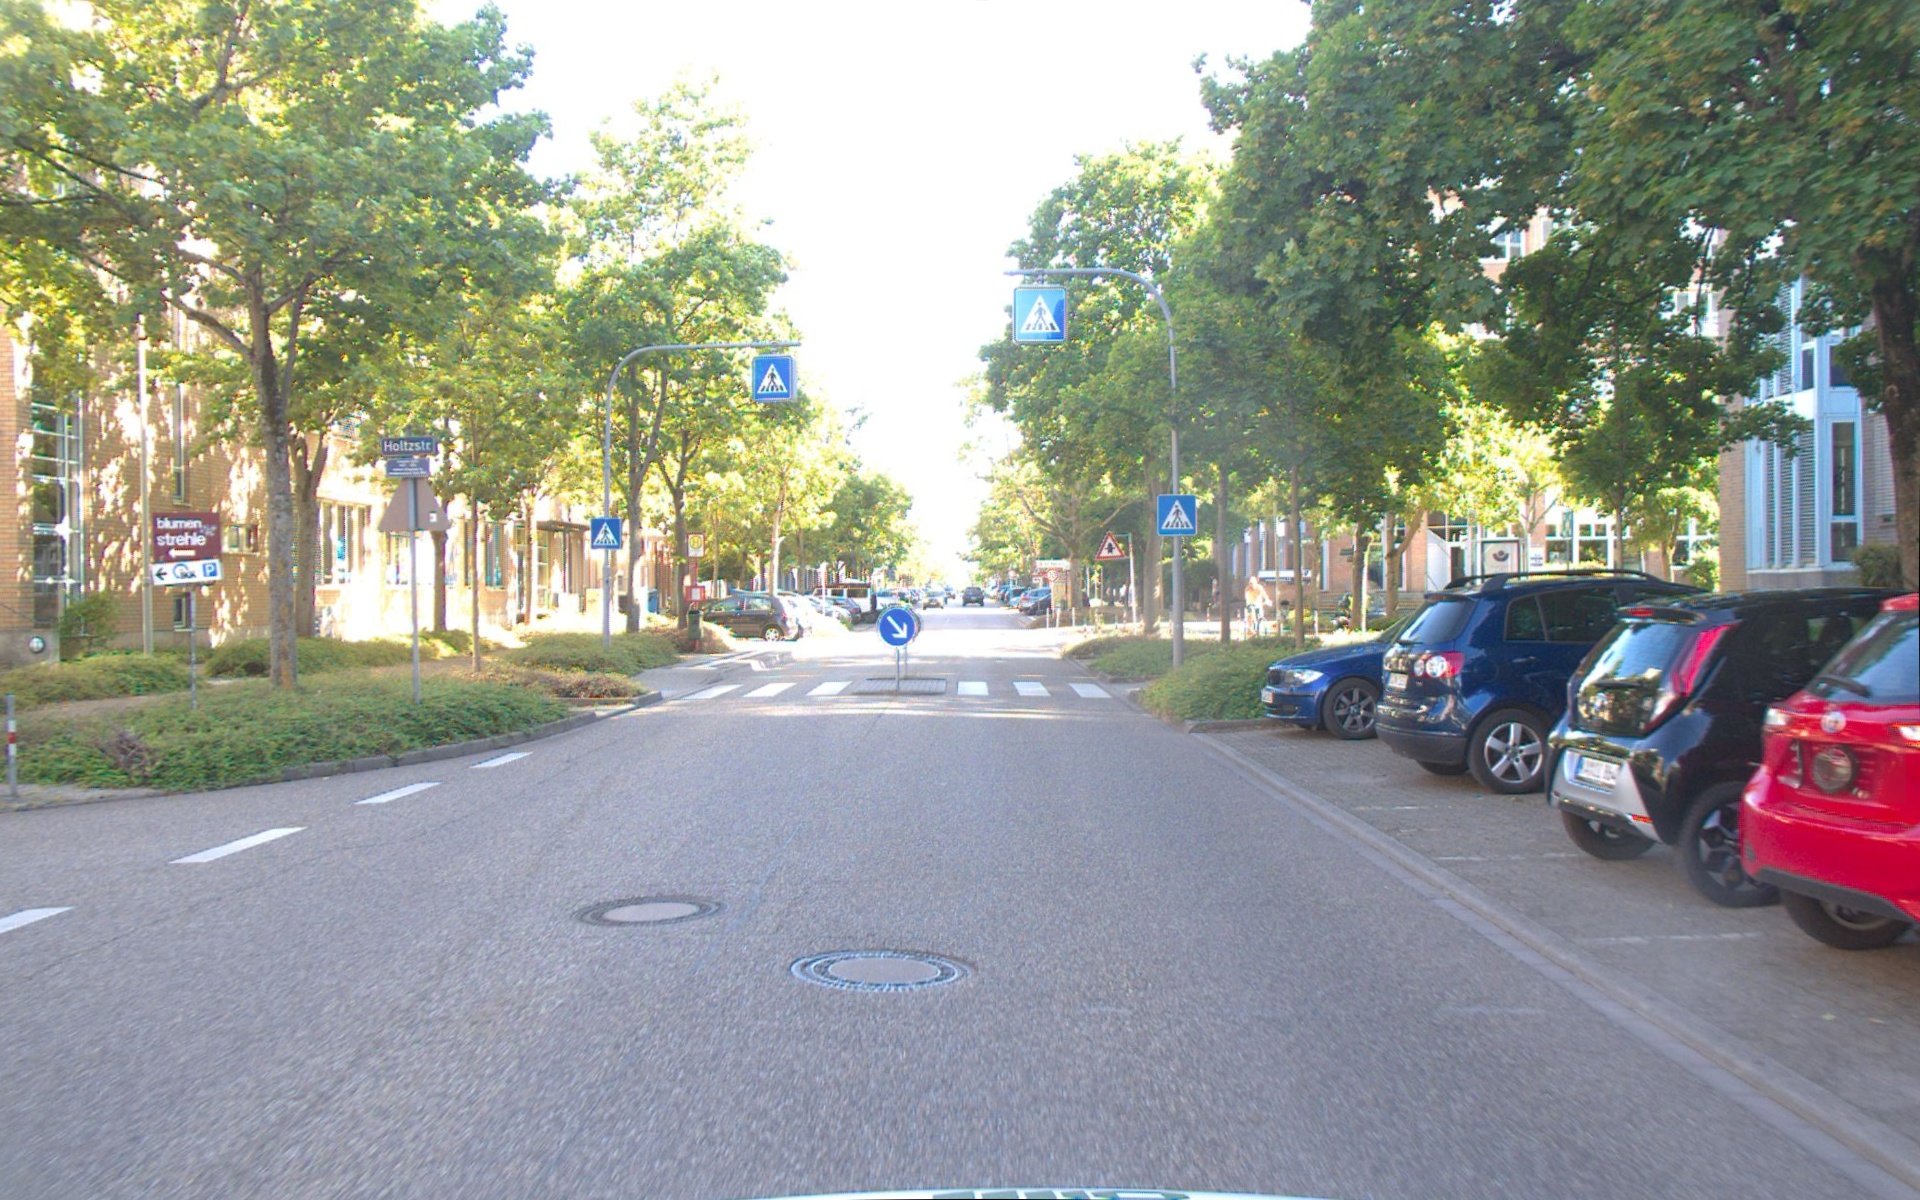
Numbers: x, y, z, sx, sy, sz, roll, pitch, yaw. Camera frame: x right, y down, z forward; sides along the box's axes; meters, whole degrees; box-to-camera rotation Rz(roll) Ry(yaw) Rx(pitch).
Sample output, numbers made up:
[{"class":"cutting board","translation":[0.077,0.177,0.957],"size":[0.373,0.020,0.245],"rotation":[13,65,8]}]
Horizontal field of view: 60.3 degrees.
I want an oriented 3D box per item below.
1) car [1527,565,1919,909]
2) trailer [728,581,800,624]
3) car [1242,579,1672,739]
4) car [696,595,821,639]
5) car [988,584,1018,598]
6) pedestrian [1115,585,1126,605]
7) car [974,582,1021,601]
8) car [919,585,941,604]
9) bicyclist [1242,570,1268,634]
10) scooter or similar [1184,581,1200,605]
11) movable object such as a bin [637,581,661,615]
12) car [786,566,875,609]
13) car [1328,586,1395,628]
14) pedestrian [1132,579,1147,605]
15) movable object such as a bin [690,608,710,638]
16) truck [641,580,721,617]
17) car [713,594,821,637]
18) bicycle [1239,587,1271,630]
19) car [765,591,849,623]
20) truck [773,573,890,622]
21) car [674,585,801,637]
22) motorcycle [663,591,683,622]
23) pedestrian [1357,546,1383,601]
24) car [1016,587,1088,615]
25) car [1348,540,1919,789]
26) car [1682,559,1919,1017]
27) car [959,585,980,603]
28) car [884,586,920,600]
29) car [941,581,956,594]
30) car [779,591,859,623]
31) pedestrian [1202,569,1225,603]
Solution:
[{"class":"car","translation":[5.265,0.561,8.557],"size":[4.044,1.486,1.659],"rotation":[-3,0,-4]},{"class":"trailer","translation":[-7.926,0.086,67.073],"size":[2.669,1.717,1.712],"rotation":[1,0,0]},{"class":"car","translation":[5.229,0.593,17.704],"size":[4.034,1.394,1.653],"rotation":[-3,0,-4]},{"class":"car","translation":[-6.923,0.568,56.987],"size":[4.067,1.427,1.801],"rotation":[1,0,0]},{"class":"car","translation":[5.801,-1.213,224.690],"size":[3.909,1.823,1.998],"rotation":[-1,0,-5]},{"class":"pedestrian","translation":[11.721,-0.363,121.061],"size":[0.686,1.483,0.715],"rotation":[-2,0,-3]},{"class":"car","translation":[3.428,-0.789,152.752],"size":[4.182,1.662,1.857],"rotation":[-2,0,-3]},{"class":"car","translation":[-2.486,-0.492,137.174],"size":[1.743,1.538,4.000],"rotation":[-1,0,0]},{"class":"bicyclist","translation":[7.763,0.050,43.591],"size":[0.526,1.665,0.823],"rotation":[-1,0,1]},{"class":"scooter or similar","translation":[13.018,-0.385,92.848],"size":[0.538,1.348,1.804],"rotation":[1,0,-5]},{"class":"movable object such as a bin","translation":[-15.731,-0.101,83.691],"size":[1.125,1.648,1.438],"rotation":[-1,0,-12]},{"class":"car","translation":[-6.580,-0.629,84.320],"size":[4.391,2.087,1.999],"rotation":[1,0,-2]},{"class":"car","translation":[15.395,0.256,63.604],"size":[1.618,1.488,3.918],"rotation":[-1,1,0]},{"class":"pedestrian","translation":[12.615,-0.556,116.400],"size":[0.683,1.740,0.918],"rotation":[-4,1,-11]},{"class":"movable object such as a bin","translation":[-6.595,0.581,41.999],"size":[0.432,0.744,0.408],"rotation":[1,0,0]},{"class":"truck","translation":[-22.017,-0.134,130.705],"size":[5.987,2.752,2.575],"rotation":[-2,0,-6]},{"class":"car","translation":[-6.997,0.546,60.152],"size":[3.678,1.477,1.754],"rotation":[1,0,0]},{"class":"bicycle","translation":[7.763,0.216,43.574],"size":[0.523,1.097,1.920],"rotation":[-1,0,1]},{"class":"car","translation":[-7.269,0.331,78.836],"size":[3.754,1.486,1.733],"rotation":[0,0,3]},{"class":"truck","translation":[-6.934,-0.135,89.926],"size":[6.104,2.464,2.187],"rotation":[-2,0,0]},{"class":"car","translation":[-7.248,0.351,54.129],"size":[3.905,1.598,1.728],"rotation":[1,0,-1]},{"class":"motorcycle","translation":[-15.407,0.327,88.781],"size":[0.700,1.619,2.109],"rotation":[-1,0,-1]},{"class":"pedestrian","translation":[12.244,-0.797,49.429],"size":[0.528,1.610,0.647],"rotation":[-1,0,-9]},{"class":"car","translation":[5.759,0.054,104.053],"size":[4.268,1.625,1.937],"rotation":[-2,0,-6]},{"class":"car","translation":[5.340,0.476,13.091],"size":[4.044,1.617,1.659],"rotation":[-3,-1,-4]},{"class":"car","translation":[5.201,0.580,6.357],"size":[4.043,1.544,1.835],"rotation":[-2,0,-4]},{"class":"car","translation":[0.883,-0.608,155.807],"size":[1.893,1.625,4.366],"rotation":[-1,1,0]},{"class":"car","translation":[-6.252,-0.785,178.929],"size":[3.813,1.489,1.858],"rotation":[-1,0,-1]},{"class":"car","translation":[-1.573,-1.657,225.845],"size":[1.854,1.713,4.351],"rotation":[-1,0,-2]},{"class":"car","translation":[-6.900,0.330,81.157],"size":[3.700,1.518,1.833],"rotation":[0,0,1]},{"class":"pedestrian","translation":[13.365,-0.724,87.264],"size":[0.902,1.740,0.696],"rotation":[-4,1,-13]}]
